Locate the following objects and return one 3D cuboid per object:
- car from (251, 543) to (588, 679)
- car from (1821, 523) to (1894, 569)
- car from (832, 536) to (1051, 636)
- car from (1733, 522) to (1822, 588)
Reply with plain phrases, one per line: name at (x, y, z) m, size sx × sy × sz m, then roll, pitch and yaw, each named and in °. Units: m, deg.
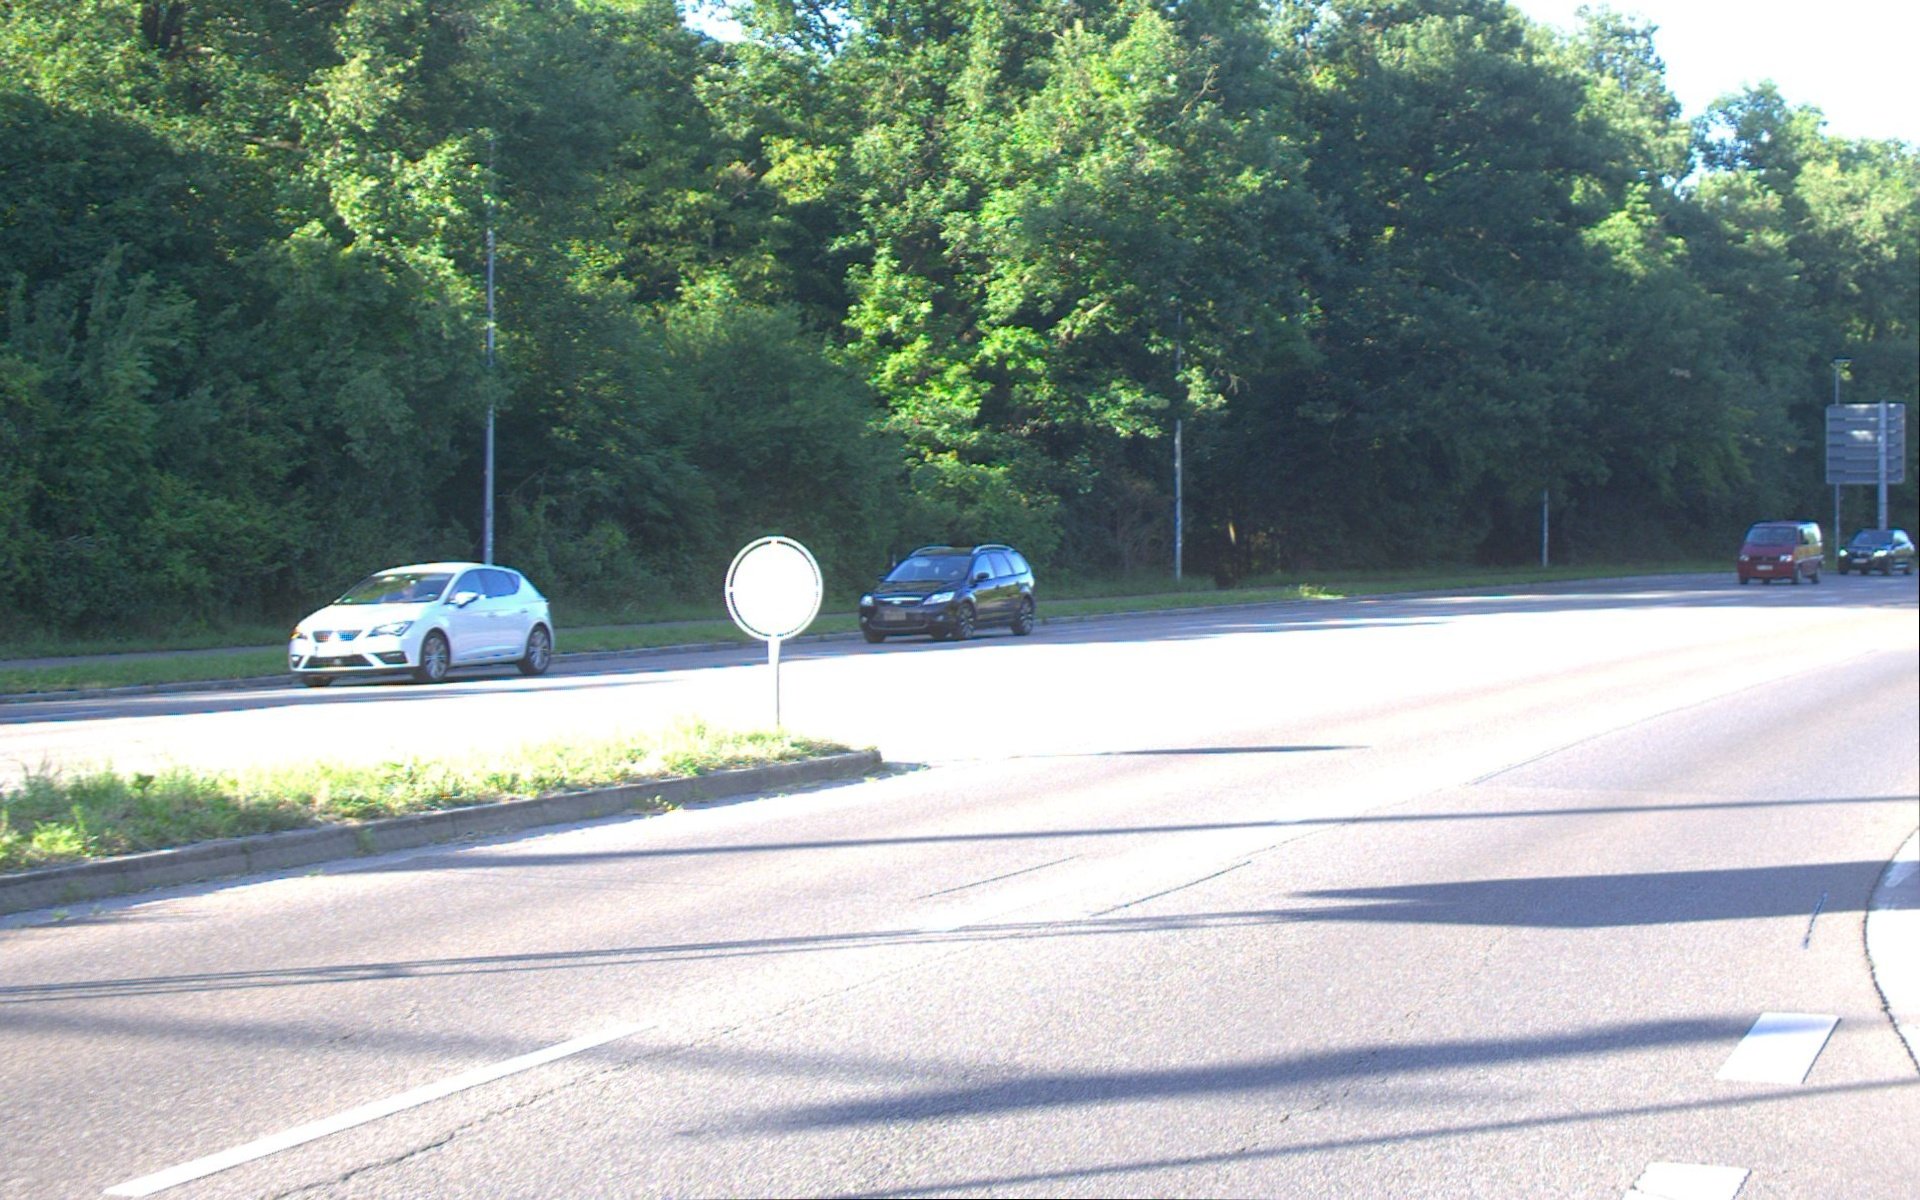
car at (-6.573, 0.101, 42.394) m, size 1.996 × 1.559 × 4.643 m, roll -1°, pitch 1°, yaw 22°
car at (32.889, -1.996, 125.868) m, size 1.996 × 1.631 × 4.838 m, roll 0°, pitch 1°, yaw 22°
car at (-0.250, -0.259, 56.921) m, size 1.996 × 1.559 × 4.643 m, roll -1°, pitch 1°, yaw 22°
car at (25.293, -1.394, 106.258) m, size 1.996 × 1.955 × 4.643 m, roll -1°, pitch 1°, yaw 22°
